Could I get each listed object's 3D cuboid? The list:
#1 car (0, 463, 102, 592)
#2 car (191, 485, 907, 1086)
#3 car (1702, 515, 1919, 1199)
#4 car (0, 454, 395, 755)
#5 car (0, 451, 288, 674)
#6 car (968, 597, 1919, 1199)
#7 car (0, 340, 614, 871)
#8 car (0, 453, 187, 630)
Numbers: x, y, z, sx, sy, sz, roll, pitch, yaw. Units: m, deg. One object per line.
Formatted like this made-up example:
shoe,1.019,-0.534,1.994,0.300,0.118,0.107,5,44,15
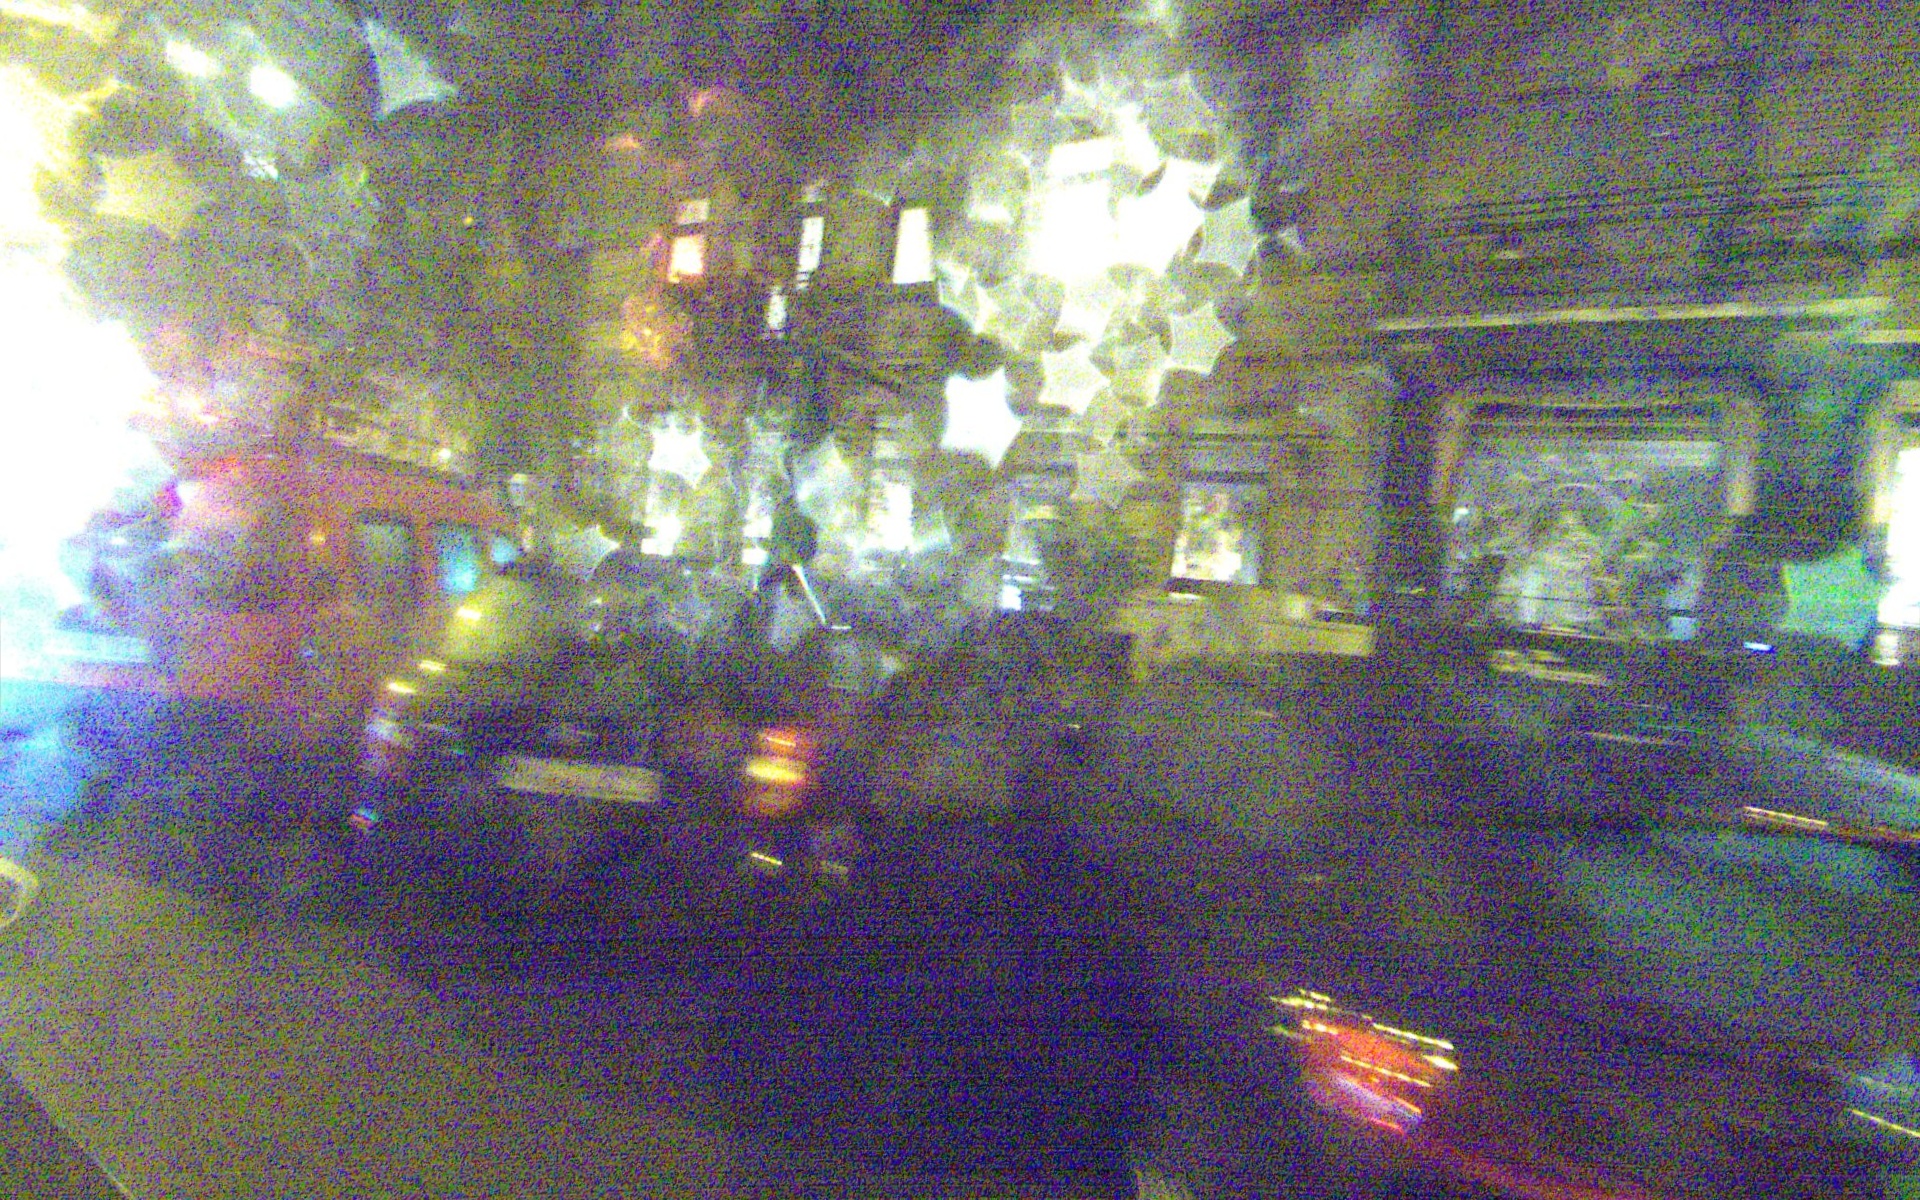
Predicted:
car,-12.813,-0.979,11.725,1.738,1.594,4.261,6,1,3
car,-1.219,0.476,4.576,1.628,1.472,3.702,6,1,0
car,3.765,0.861,1.669,1.712,1.968,3.928,6,1,-5
car,-6.086,-0.112,7.218,1.800,1.619,4.067,6,1,-3
car,-8.367,-0.419,9.348,1.717,1.735,3.789,6,1,-3
car,1.058,0.828,3.118,1.648,1.471,4.054,7,0,-3
car,-3.558,-0.020,6.014,1.690,2.055,3.735,6,2,-3
car,-10.305,-0.674,10.413,1.739,1.735,3.735,6,1,-3
